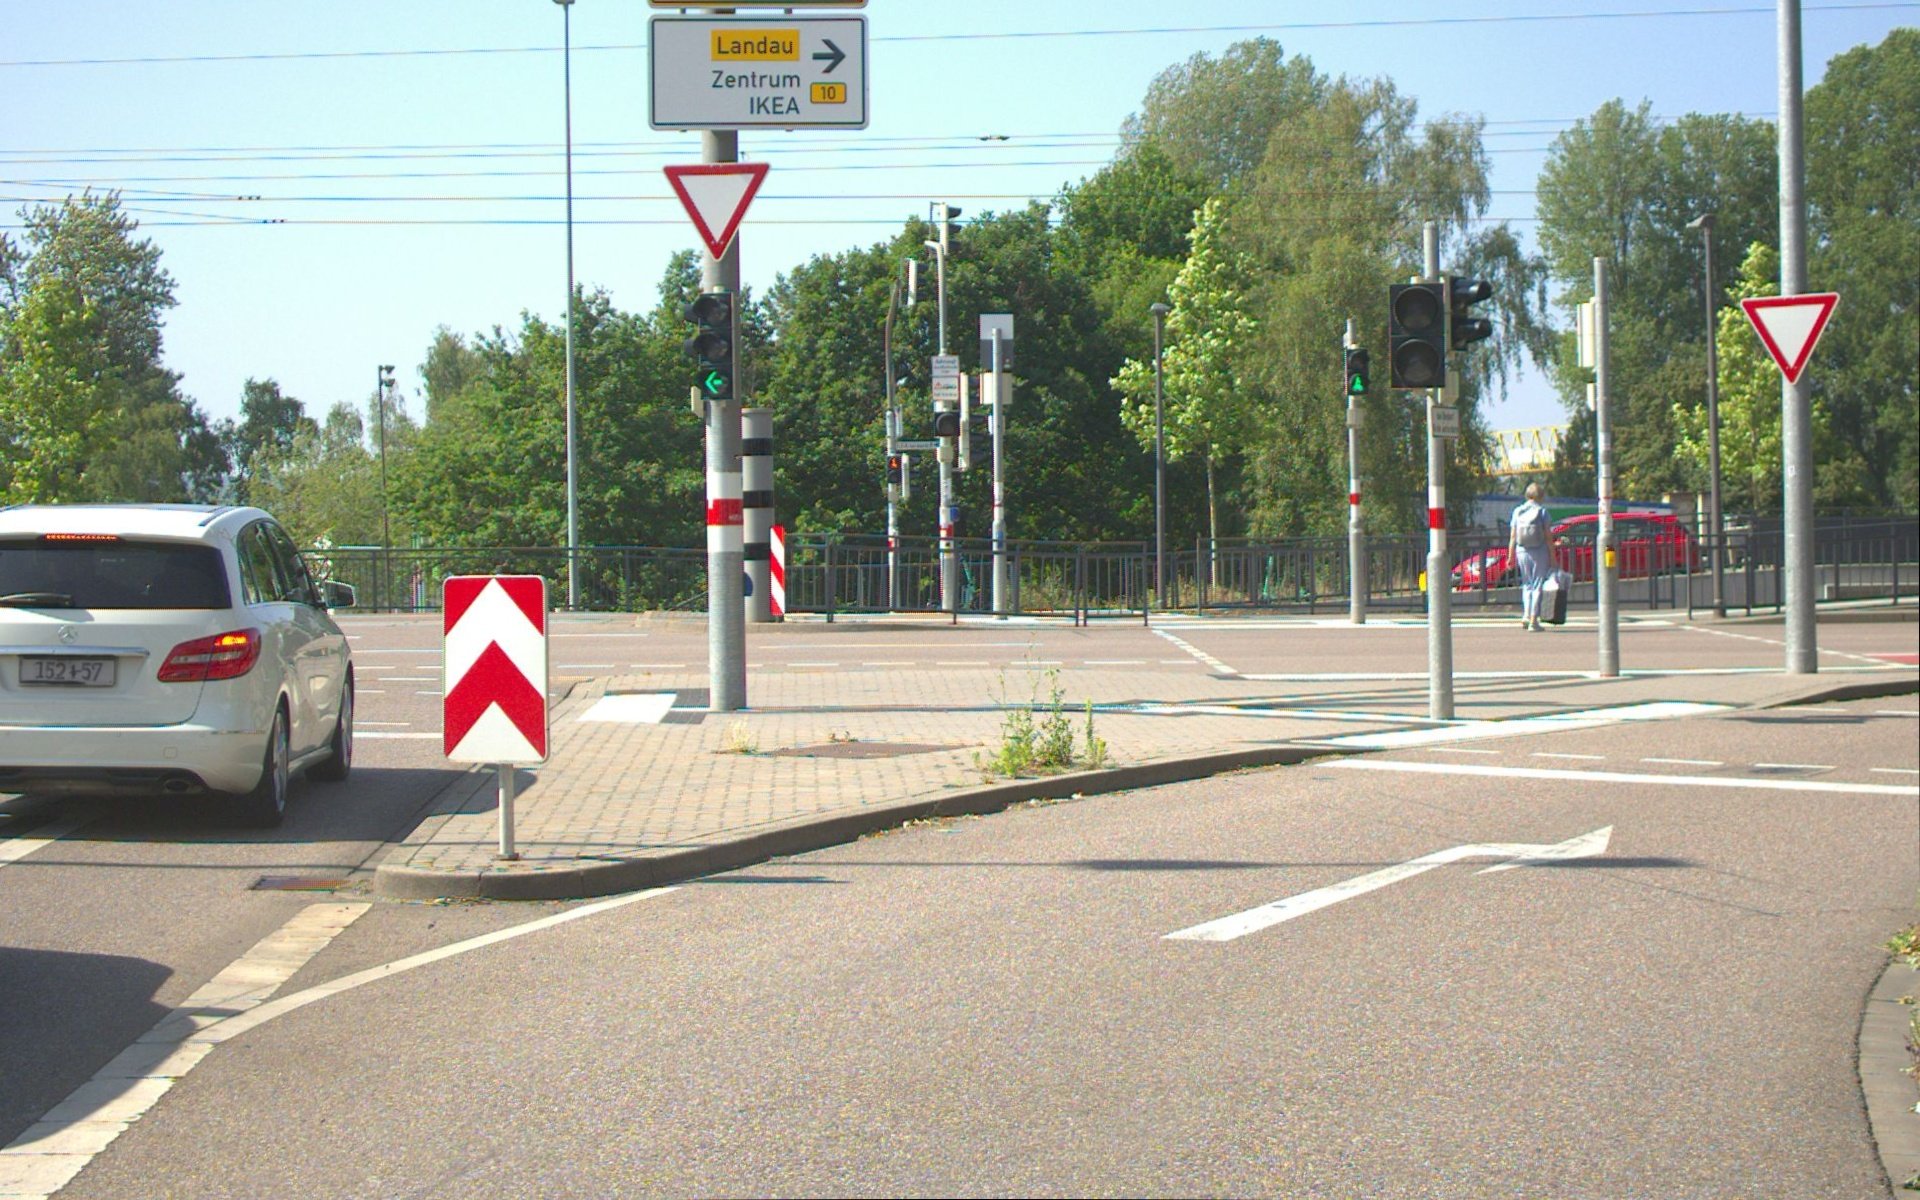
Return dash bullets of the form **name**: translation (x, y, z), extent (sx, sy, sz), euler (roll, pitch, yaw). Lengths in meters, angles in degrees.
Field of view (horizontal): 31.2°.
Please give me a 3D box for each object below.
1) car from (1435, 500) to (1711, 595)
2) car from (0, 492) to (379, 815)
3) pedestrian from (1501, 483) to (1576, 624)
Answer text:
- **car**: translation (9.719, -0.845, 54.675), extent (3.986, 1.440, 1.747), euler (-1, 2, -4)
- **car**: translation (-4.126, 0.187, 17.582), extent (1.741, 1.443, 4.389), euler (0, 1, -2)
- **pedestrian**: translation (6.365, -0.520, 37.867), extent (0.773, 1.505, 1.007), euler (-1, 2, 9)
